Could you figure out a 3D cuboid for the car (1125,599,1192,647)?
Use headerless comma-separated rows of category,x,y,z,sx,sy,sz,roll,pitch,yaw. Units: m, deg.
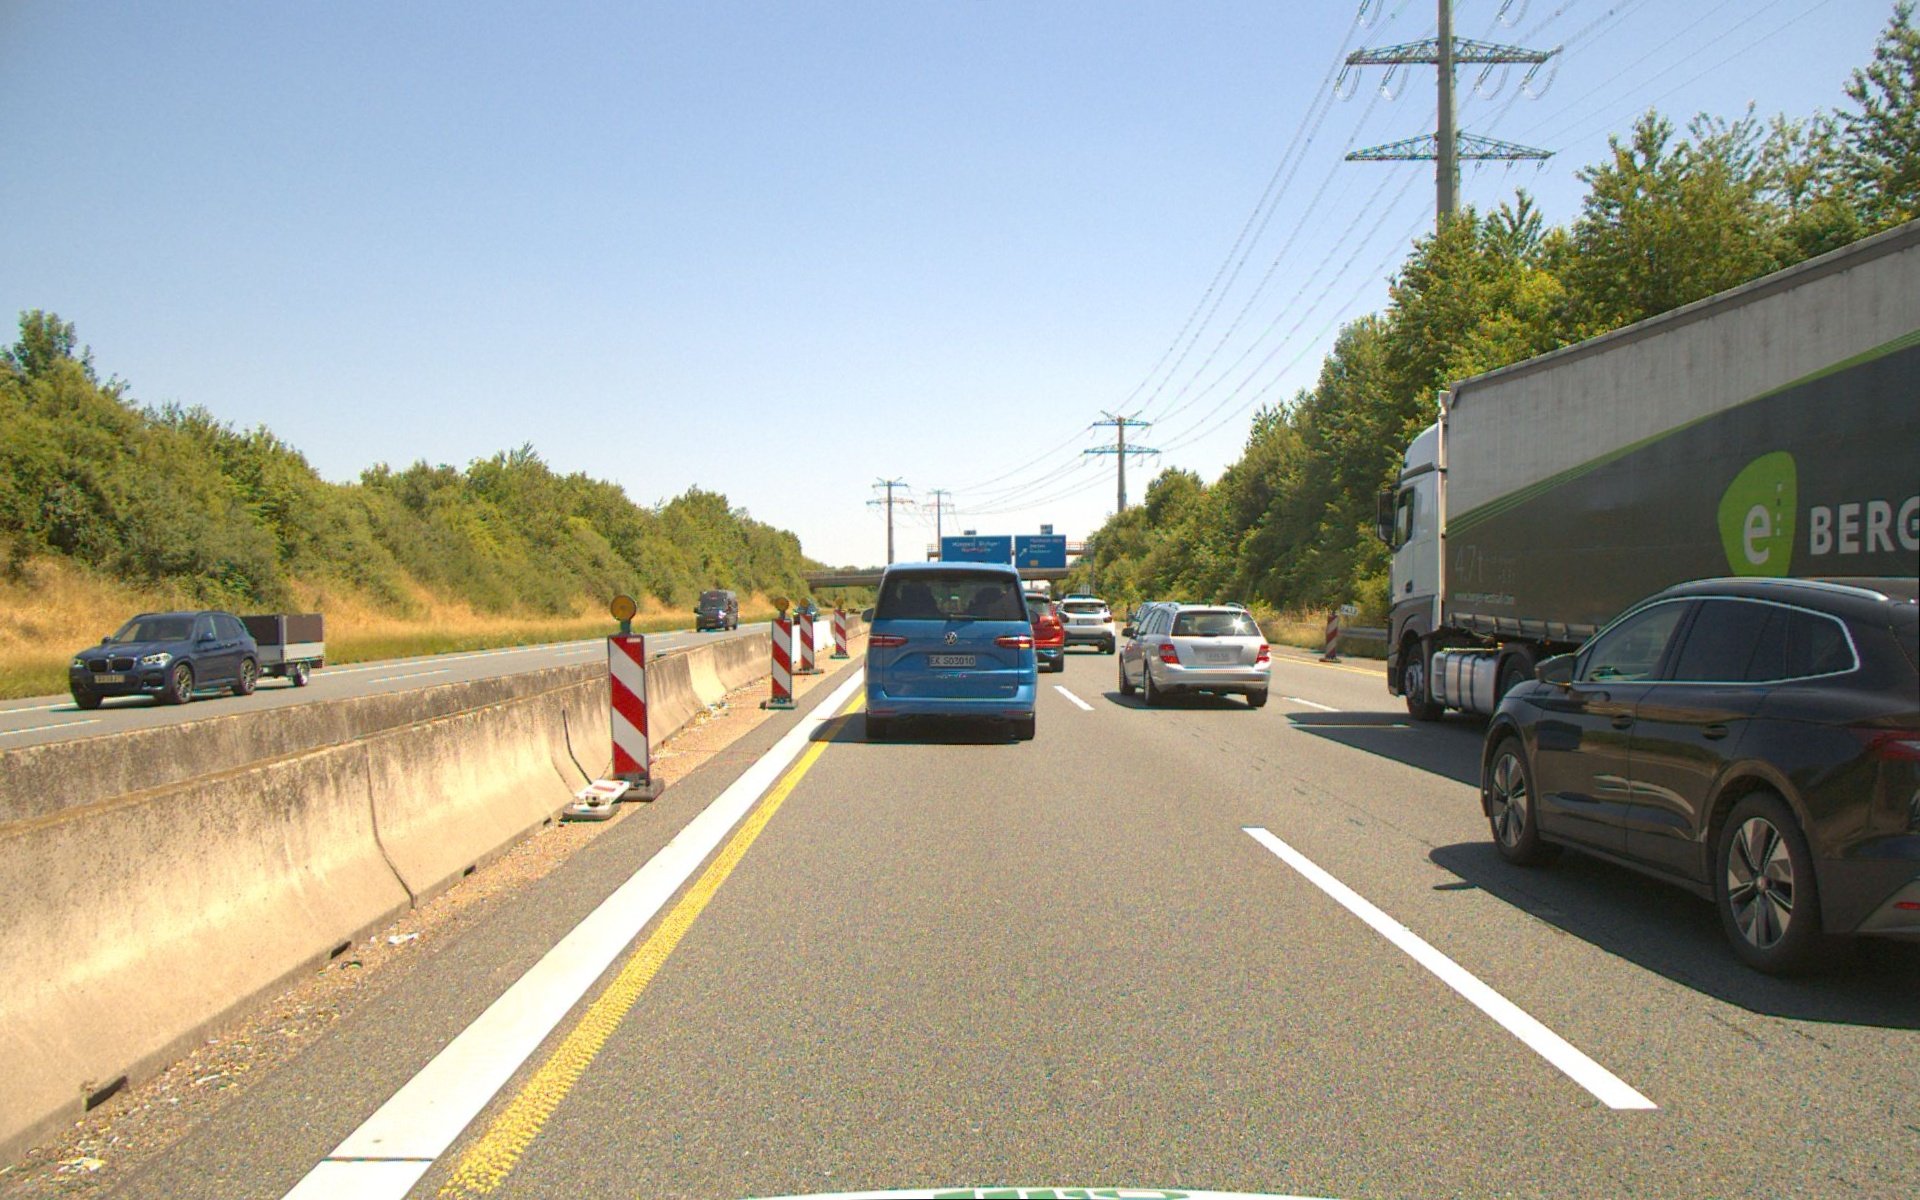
car,6.457,0.735,54.140,1.666,1.473,3.787,1,0,-1

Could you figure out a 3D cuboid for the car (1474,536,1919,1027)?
car,4.051,0.645,7.923,1.666,1.684,4.428,1,0,-2

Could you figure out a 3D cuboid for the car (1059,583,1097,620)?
car,6.752,0.112,95.189,1.761,2.049,4.226,1,0,-1

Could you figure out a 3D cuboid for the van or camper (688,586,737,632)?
van or camper,-15.944,0.599,106.969,2.177,2.758,7.078,-3,0,-2

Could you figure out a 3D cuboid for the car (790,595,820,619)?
car,-11.938,0.538,127.472,1.953,1.713,4.152,-3,0,-1

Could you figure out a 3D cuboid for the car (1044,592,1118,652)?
car,3.453,0.621,47.992,1.761,1.622,4.226,1,0,-1

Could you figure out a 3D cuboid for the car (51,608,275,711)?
car,-14.911,1.050,31.271,1.953,1.678,4.629,-3,0,-1

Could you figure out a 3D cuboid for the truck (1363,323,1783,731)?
truck,6.982,-0.732,19.808,2.678,4.118,5.791,1,0,-2

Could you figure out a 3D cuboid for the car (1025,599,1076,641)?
car,3.641,0.784,67.177,1.761,1.622,4.226,1,0,-1

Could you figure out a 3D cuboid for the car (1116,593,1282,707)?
car,3.493,0.693,24.885,1.735,1.544,4.358,1,0,-2

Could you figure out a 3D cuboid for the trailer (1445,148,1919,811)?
trailer,7.225,-0.724,12.593,2.727,4.118,13.106,1,0,-2

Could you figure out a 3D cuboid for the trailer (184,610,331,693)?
trailer,-14.995,1.065,35.506,1.537,1.579,3.778,-2,0,-1

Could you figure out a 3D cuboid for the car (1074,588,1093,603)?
car,15.128,-0.543,202.727,1.837,1.700,4.358,1,0,-2

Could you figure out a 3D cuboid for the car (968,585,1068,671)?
car,1.186,0.575,35.643,1.837,1.700,4.358,1,0,-2

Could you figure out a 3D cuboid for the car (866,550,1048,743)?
car,-0.090,0.490,19.185,1.837,1.945,4.358,1,0,-2
